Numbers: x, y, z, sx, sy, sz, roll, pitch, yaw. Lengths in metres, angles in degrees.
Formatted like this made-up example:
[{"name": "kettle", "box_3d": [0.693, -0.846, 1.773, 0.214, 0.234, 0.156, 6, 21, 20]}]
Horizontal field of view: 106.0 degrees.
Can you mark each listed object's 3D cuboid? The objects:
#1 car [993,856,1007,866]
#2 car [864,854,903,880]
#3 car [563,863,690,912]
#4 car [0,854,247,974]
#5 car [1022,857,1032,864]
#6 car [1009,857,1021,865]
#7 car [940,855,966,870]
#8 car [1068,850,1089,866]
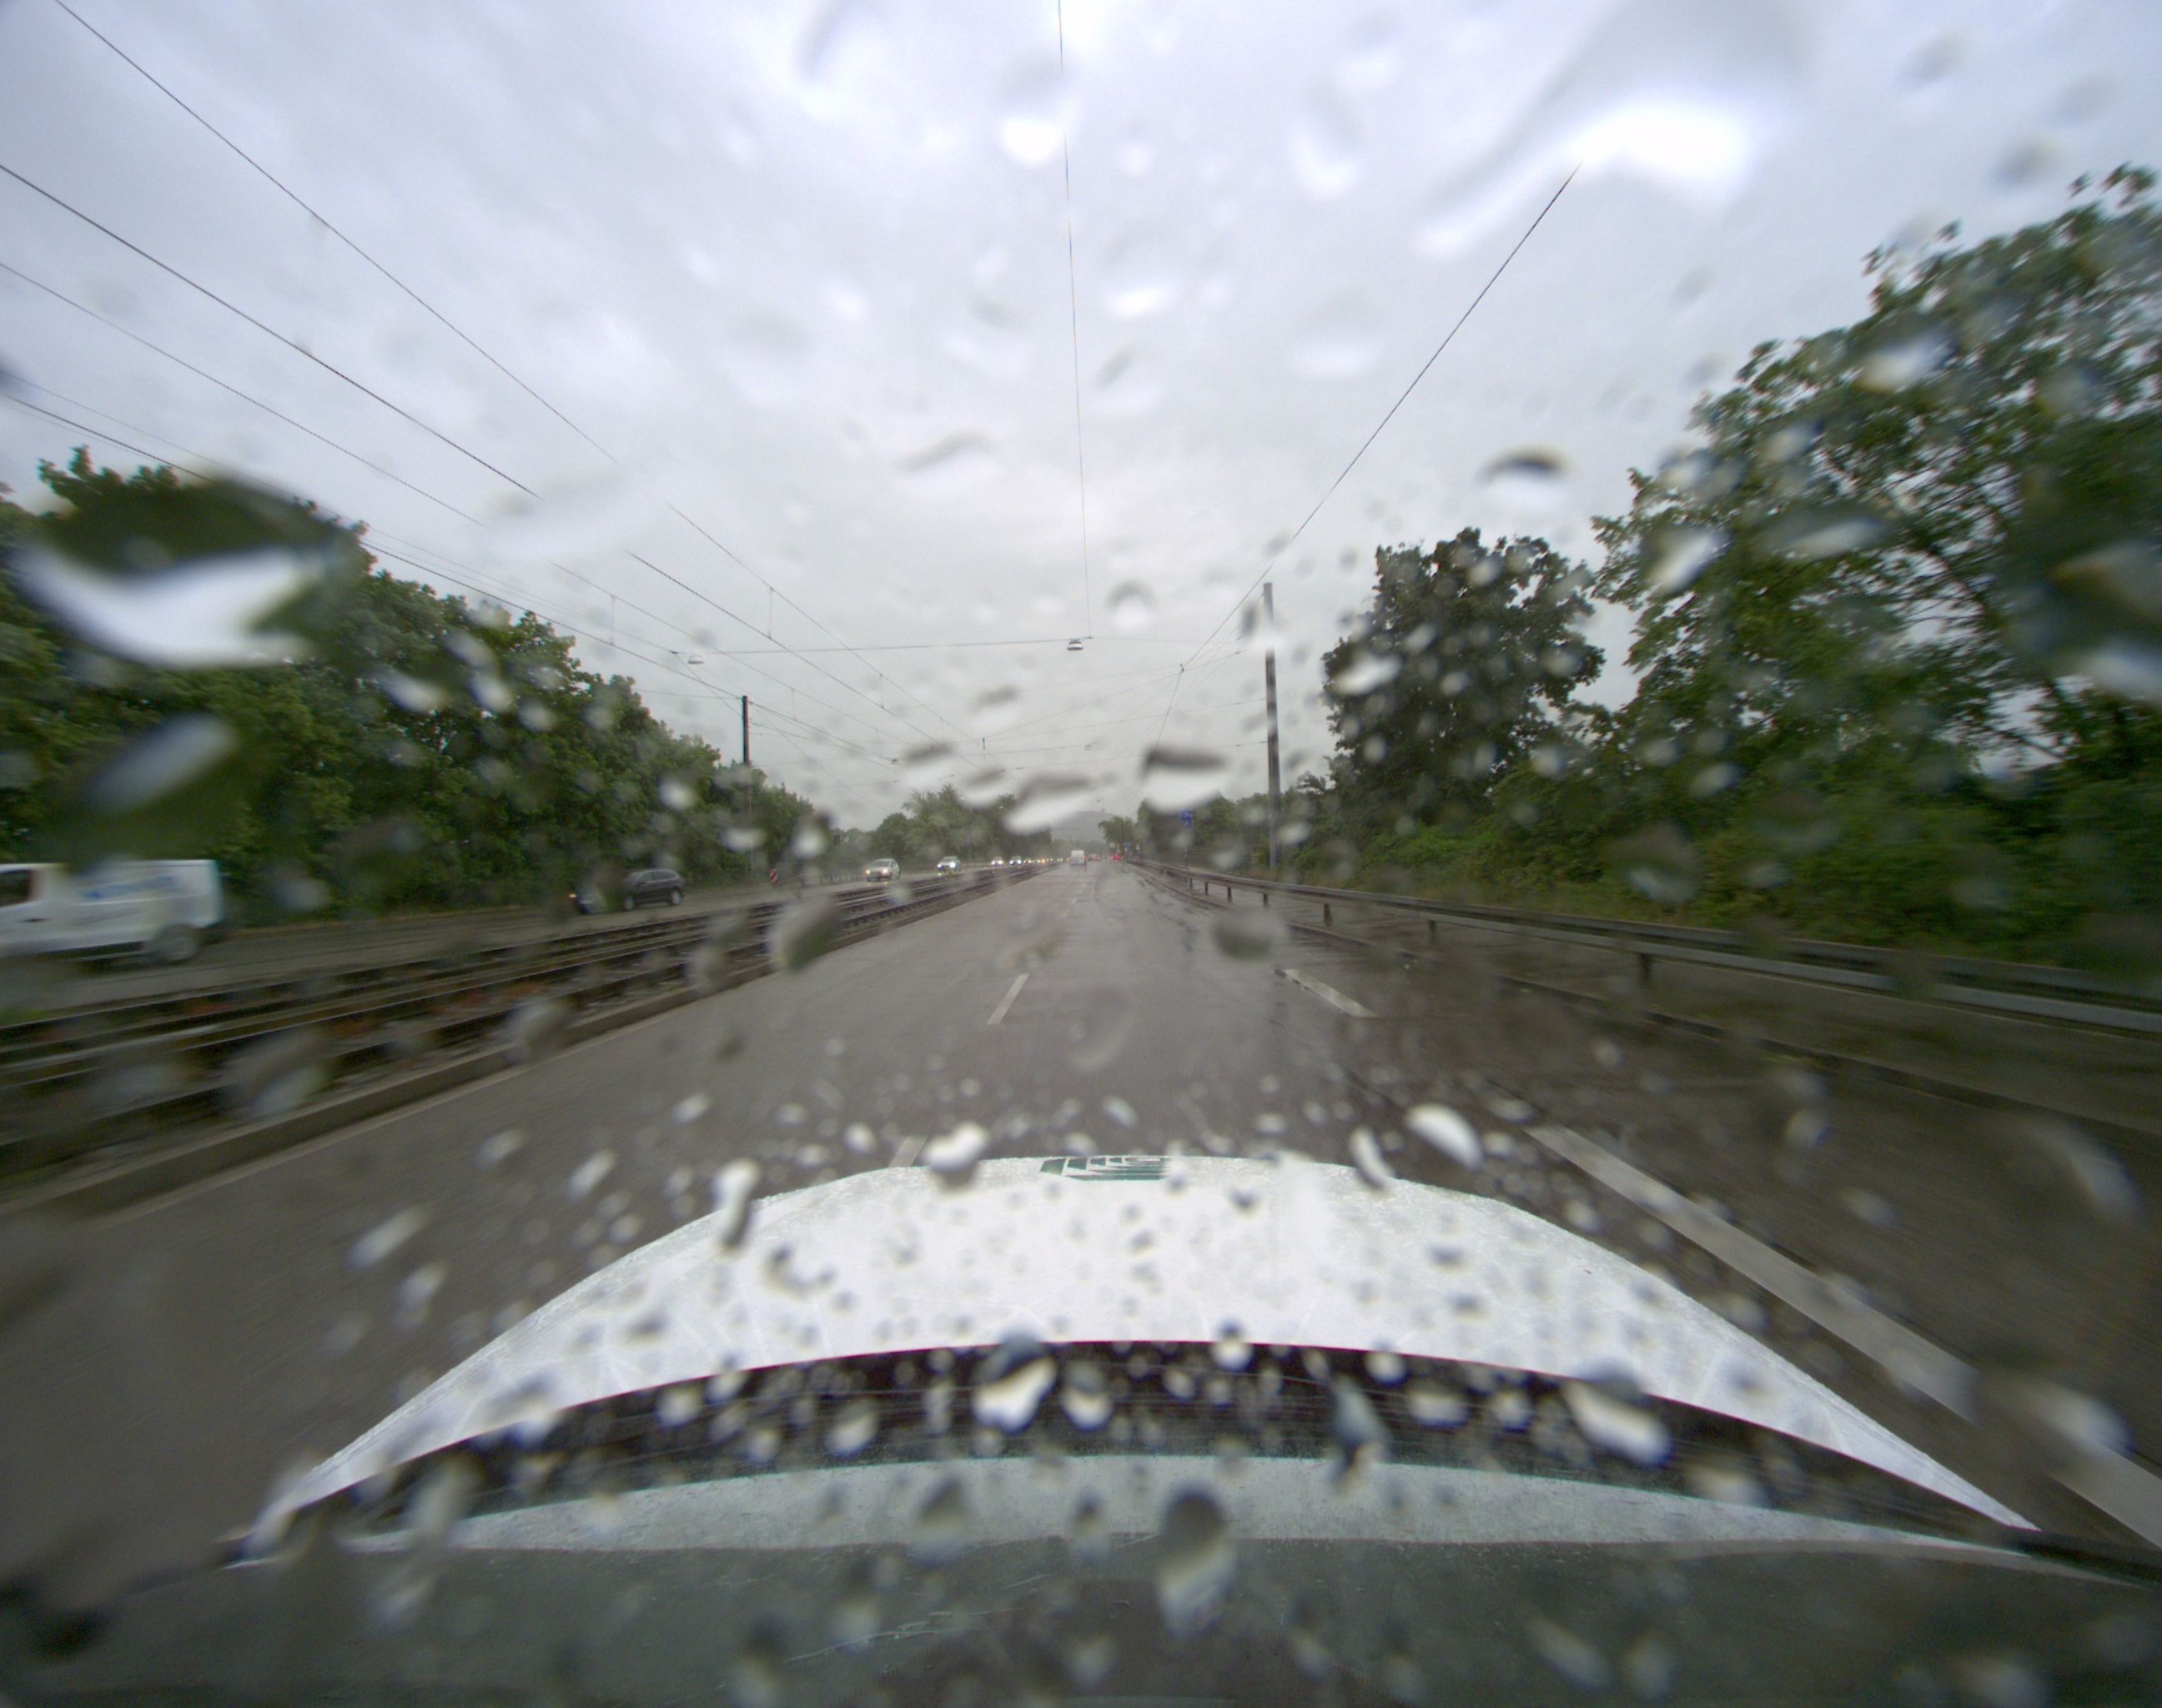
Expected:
[{"name": "car", "box_3d": [-12.506, 1.087, 126.479, 1.737, 1.508, 3.701, 0, 1, 1]}, {"name": "car", "box_3d": [-14.157, 0.895, 58.477, 1.748, 1.711, 4.001, 0, 1, 1]}, {"name": "car", "box_3d": [-16.147, 1.127, 29.268, 1.681, 1.519, 4.617, 0, 1, 5]}, {"name": "car", "box_3d": [-17.611, 0.936, 13.611, 2.031, 1.775, 4.990, 0, 1, 3]}, {"name": "car", "box_3d": [-11.414, 1.410, 173.084, 1.737, 1.508, 3.701, 0, 1, 1]}, {"name": "car", "box_3d": [-11.943, 1.269, 147.438, 1.737, 1.508, 3.701, 0, 1, 1]}, {"name": "car", "box_3d": [-13.143, 0.834, 83.932, 1.791, 1.453, 4.197, 0, 1, 2]}, {"name": "car", "box_3d": [-0.245, 0.397, 85.829, 1.981, 1.684, 3.743, 0, 1, 3]}]
